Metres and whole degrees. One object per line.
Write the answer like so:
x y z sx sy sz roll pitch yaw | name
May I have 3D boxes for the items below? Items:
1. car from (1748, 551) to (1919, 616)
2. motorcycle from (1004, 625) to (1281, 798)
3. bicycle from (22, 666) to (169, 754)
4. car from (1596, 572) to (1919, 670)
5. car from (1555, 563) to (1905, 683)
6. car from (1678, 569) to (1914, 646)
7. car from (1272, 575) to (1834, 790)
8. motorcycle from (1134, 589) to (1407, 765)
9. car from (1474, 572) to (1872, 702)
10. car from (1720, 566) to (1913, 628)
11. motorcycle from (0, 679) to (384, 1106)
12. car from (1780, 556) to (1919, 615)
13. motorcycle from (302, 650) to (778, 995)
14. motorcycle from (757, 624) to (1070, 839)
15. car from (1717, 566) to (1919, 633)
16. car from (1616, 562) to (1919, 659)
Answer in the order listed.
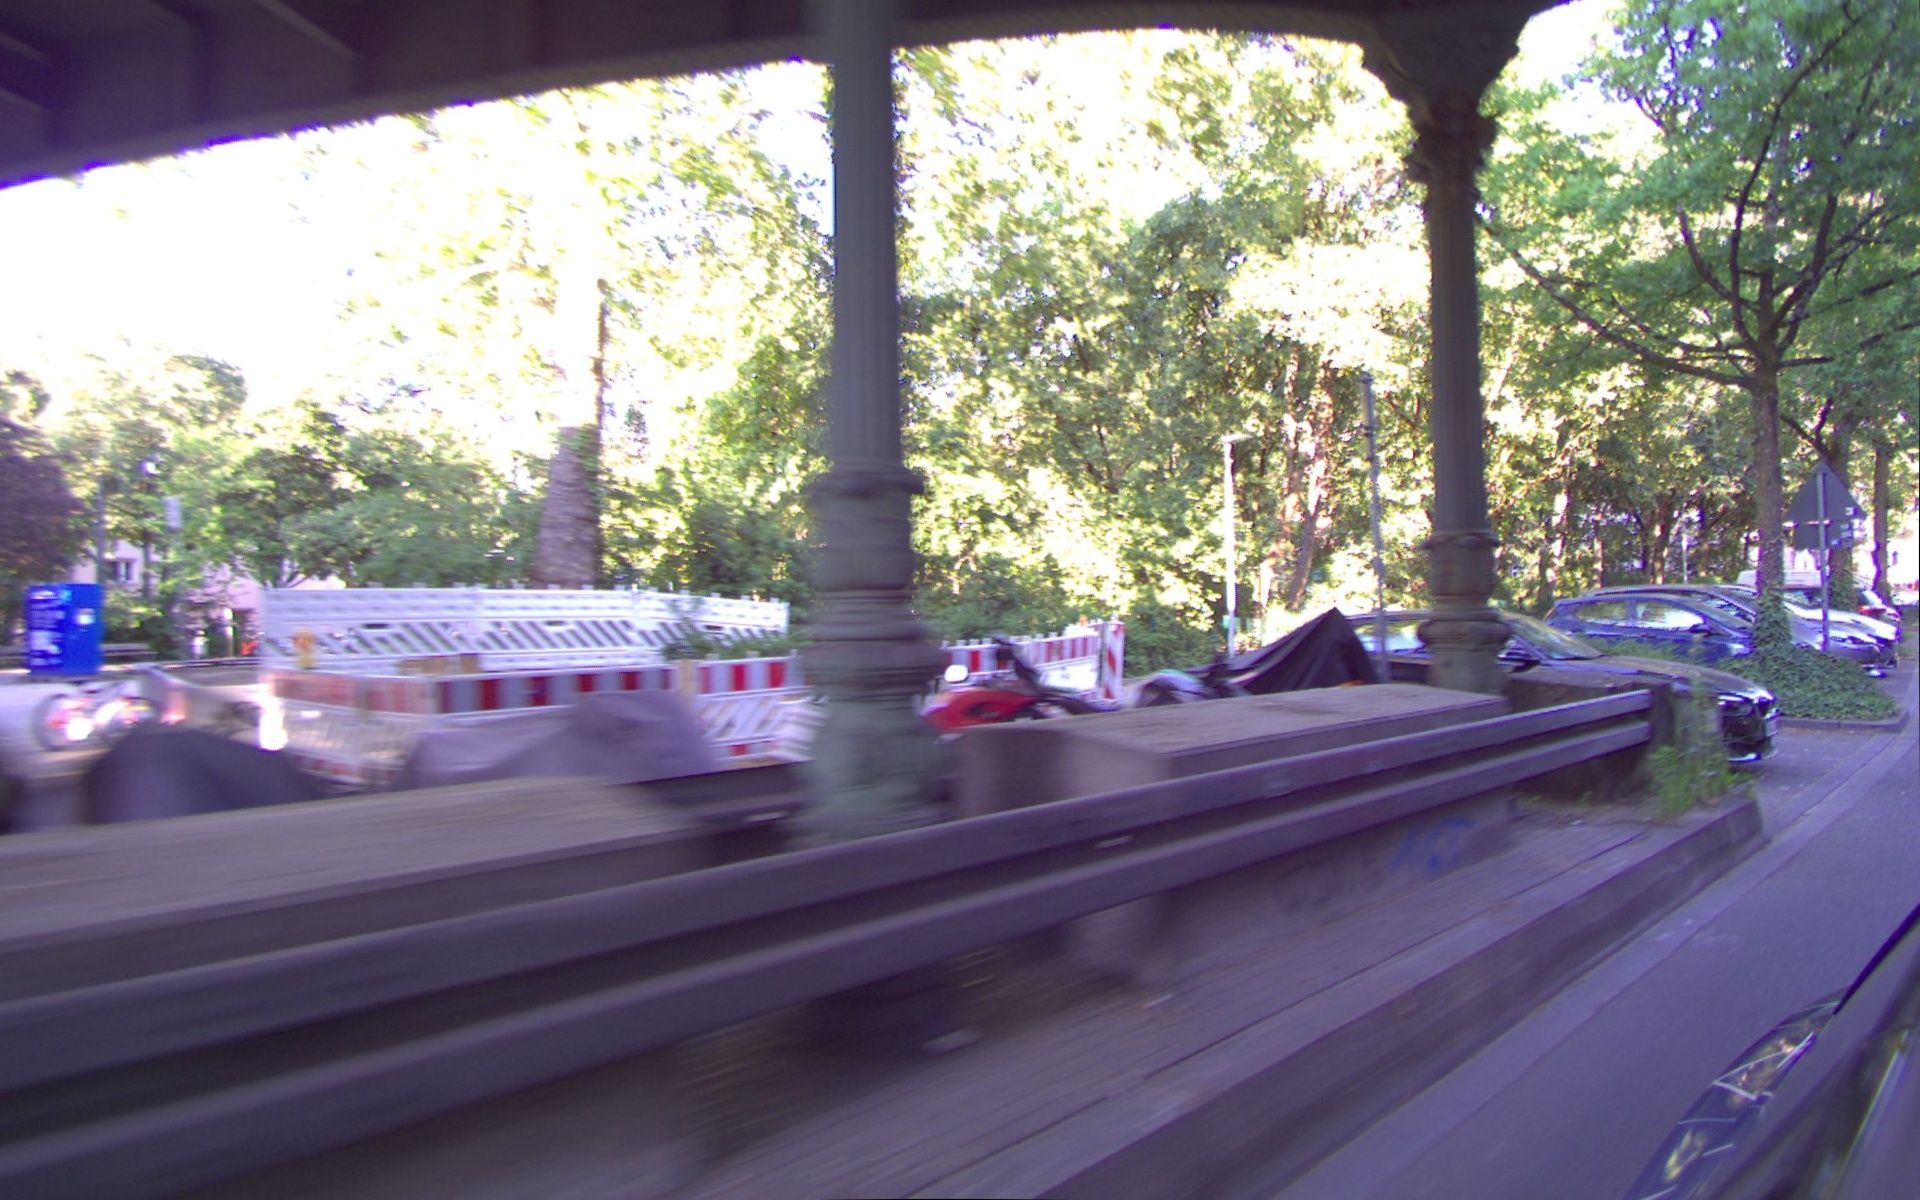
28.239 -0.549 32.302 1.841 1.948 4.677 -2 3 -43 | car
1.238 0.741 6.882 1.701 1.043 0.809 -3 -1 15 | motorcycle
-9.891 1.235 11.581 1.593 0.869 0.521 1 0 18 | bicycle
14.436 0.414 18.518 1.845 1.552 4.377 -2 -1 -43 | car
12.646 0.397 16.814 4.374 1.730 1.877 -3 -1 45 | car
19.401 0.199 23.627 1.561 1.594 4.023 -2 -1 -43 | car
5.472 0.701 9.841 1.647 1.597 4.377 -2 -1 -43 | car
2.451 0.593 8.018 1.914 1.253 0.897 -3 -1 24 | motorcycle
10.512 0.490 15.286 1.703 1.626 4.597 -2 0 -38 | car
24.658 -0.056 29.252 1.636 1.594 3.994 -2 -1 -39 | car
-2.857 0.894 3.613 1.592 1.147 0.704 -3 -1 32 | motorcycle
30.252 -0.490 33.871 1.766 1.780 3.996 -3 -1 -37 | car
-1.791 0.840 4.305 1.818 1.147 0.843 -3 -1 26 | motorcycle
-0.260 0.766 6.065 1.701 1.147 0.709 -3 -1 15 | motorcycle
23.092 0.019 27.329 1.561 1.594 3.990 -2 -1 -43 | car
16.135 0.249 20.396 1.876 1.717 4.535 -2 -1 -43 | car
